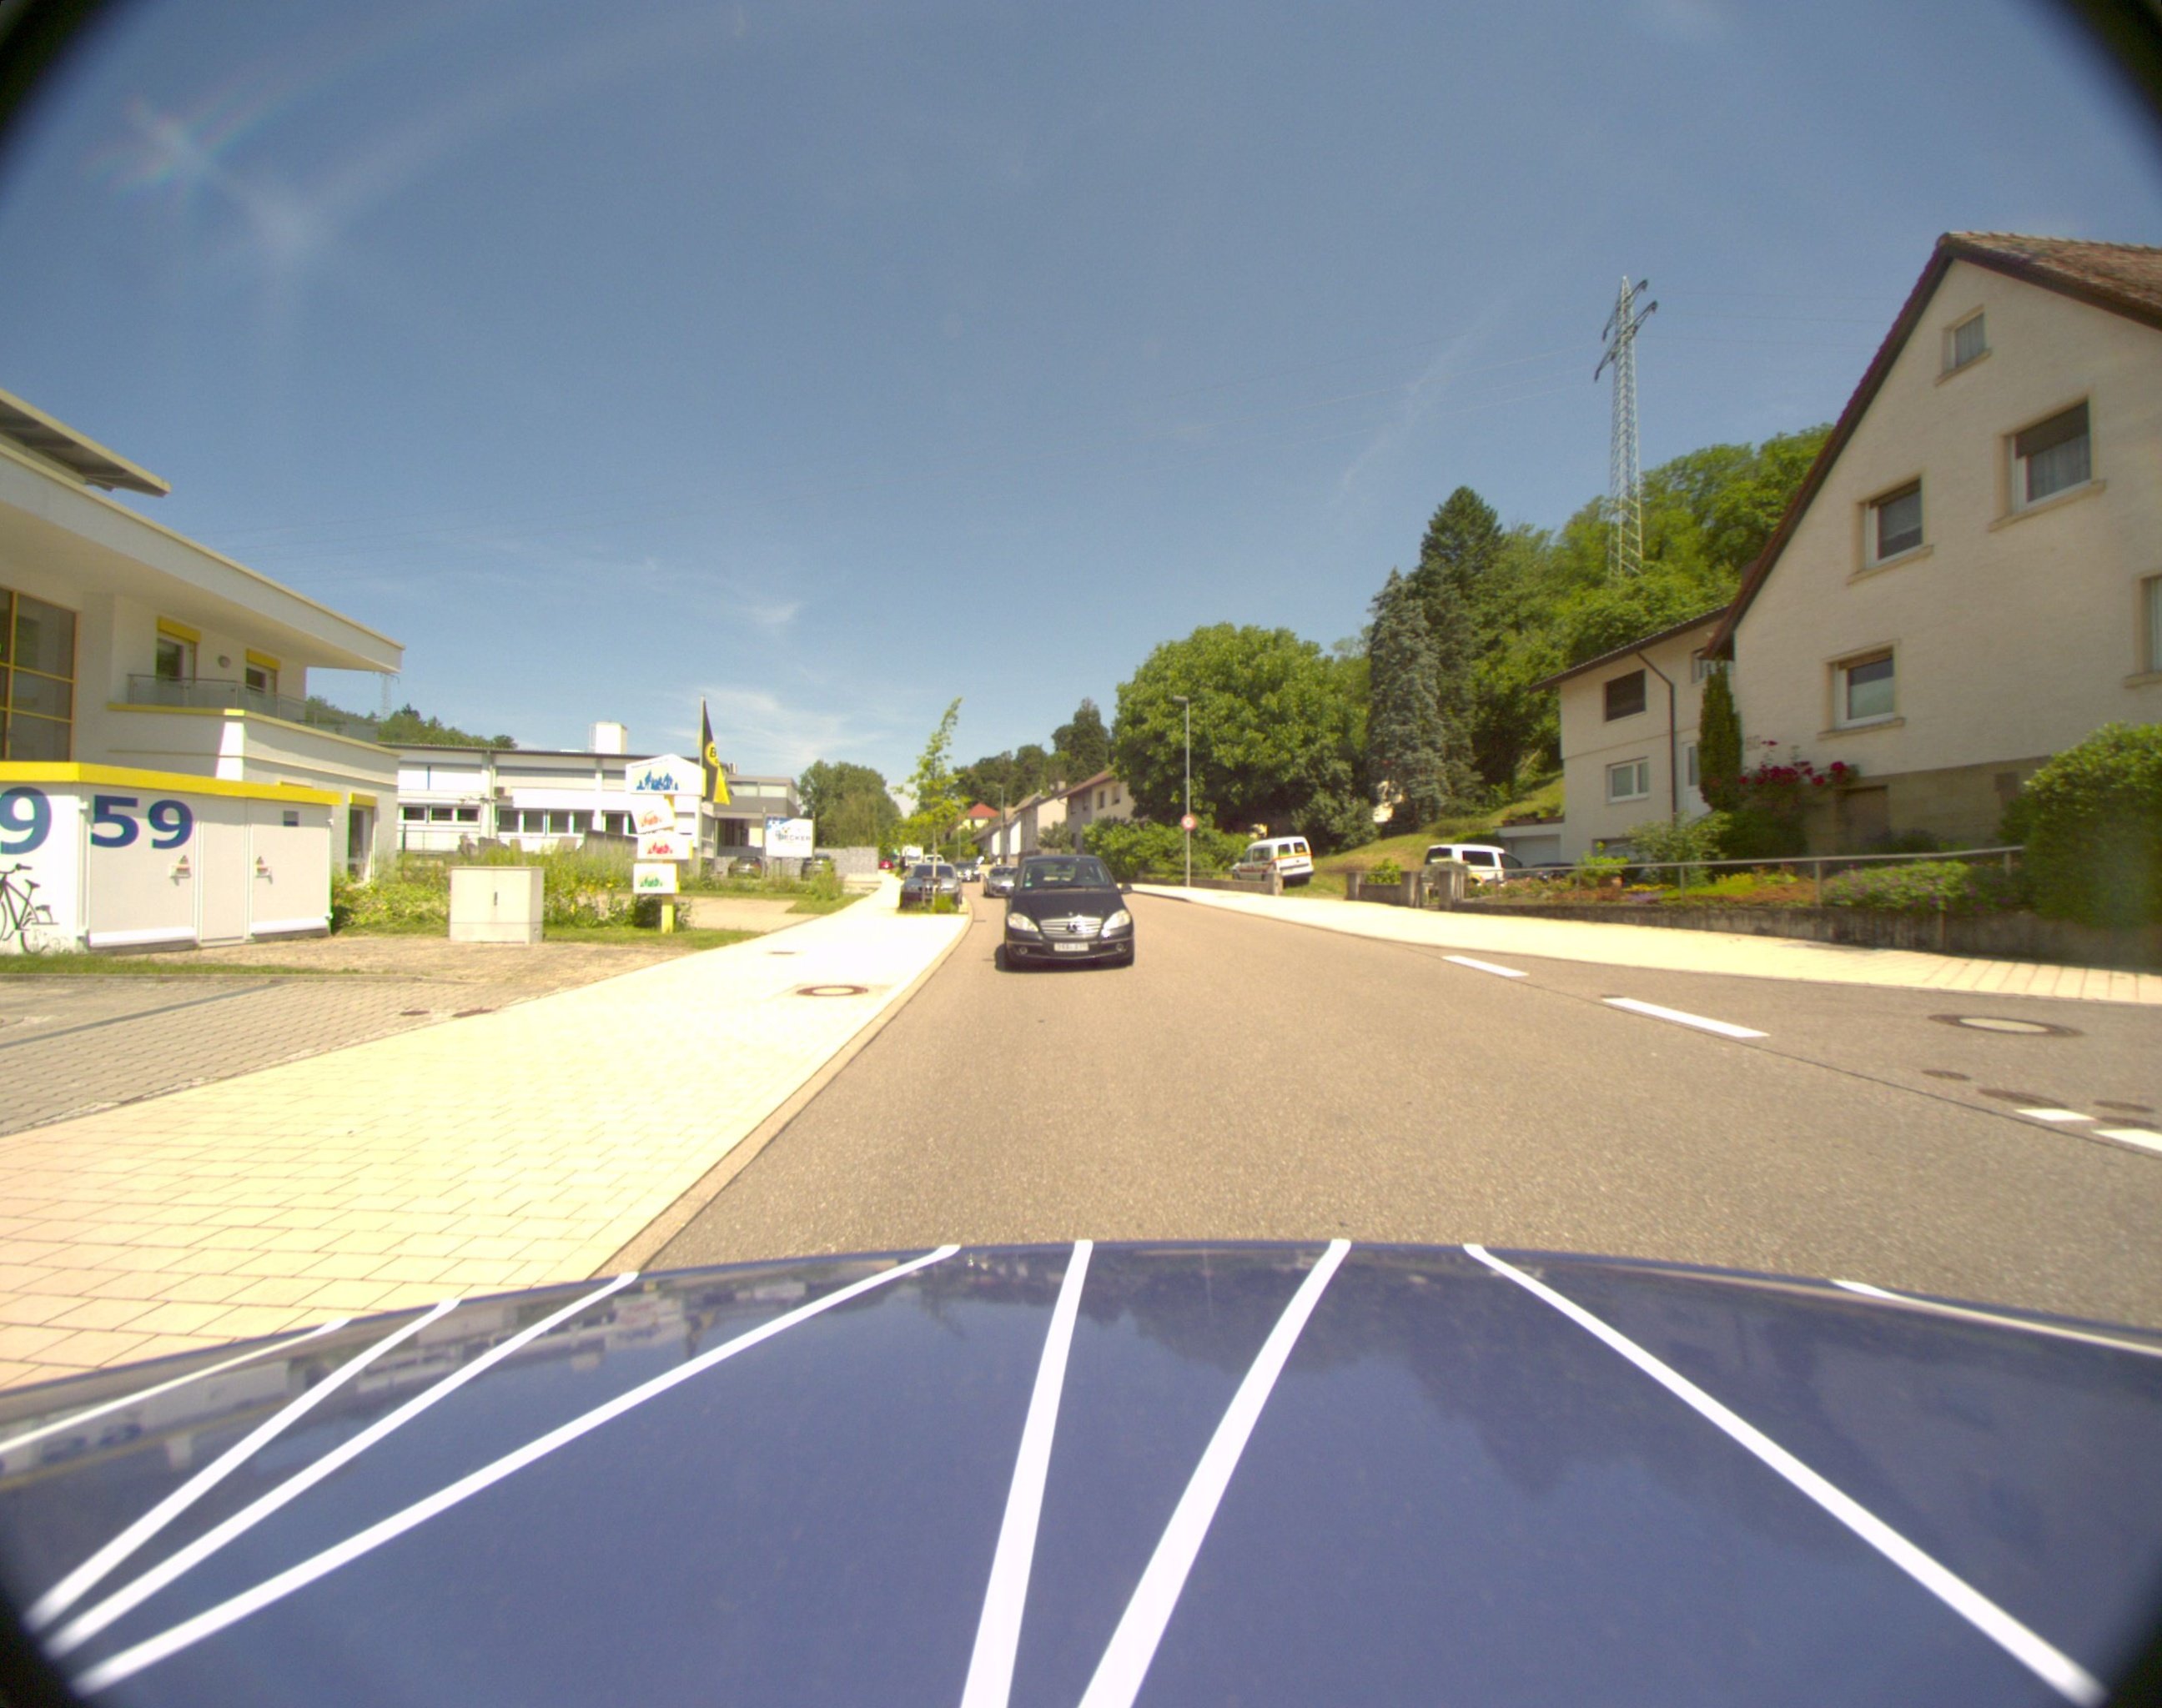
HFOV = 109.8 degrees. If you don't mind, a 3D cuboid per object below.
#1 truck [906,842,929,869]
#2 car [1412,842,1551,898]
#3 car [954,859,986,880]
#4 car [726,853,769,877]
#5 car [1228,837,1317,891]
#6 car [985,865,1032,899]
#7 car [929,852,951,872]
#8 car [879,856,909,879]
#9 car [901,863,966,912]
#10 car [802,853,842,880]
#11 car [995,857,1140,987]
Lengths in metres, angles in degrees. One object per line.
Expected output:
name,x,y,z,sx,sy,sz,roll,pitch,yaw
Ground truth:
truck,-21.629,0.237,100.352,2.809,3.394,8.110,1,0,-12
car,13.600,0.582,25.863,4.003,1.778,1.809,1,-4,-17
car,-7.597,1.047,51.718,1.912,1.341,3.995,0,0,-12
car,-19.814,0.632,45.309,1.746,1.357,3.835,0,0,-15
car,7.272,0.362,29.231,1.705,1.937,3.996,-1,0,-12
car,-2.994,1.087,31.021,1.669,1.253,3.549,0,0,-9
car,-13.876,0.782,74.542,1.970,1.823,4.460,1,0,-12
car,-13.048,0.894,52.906,1.654,1.520,3.858,0,0,-20
car,-4.552,0.988,23.902,1.676,1.368,3.998,1,0,-6
car,-15.671,0.717,46.162,2.001,1.477,3.994,2,-1,-15
car,-0.263,0.878,11.789,1.791,1.595,4.074,-2,0,-3
